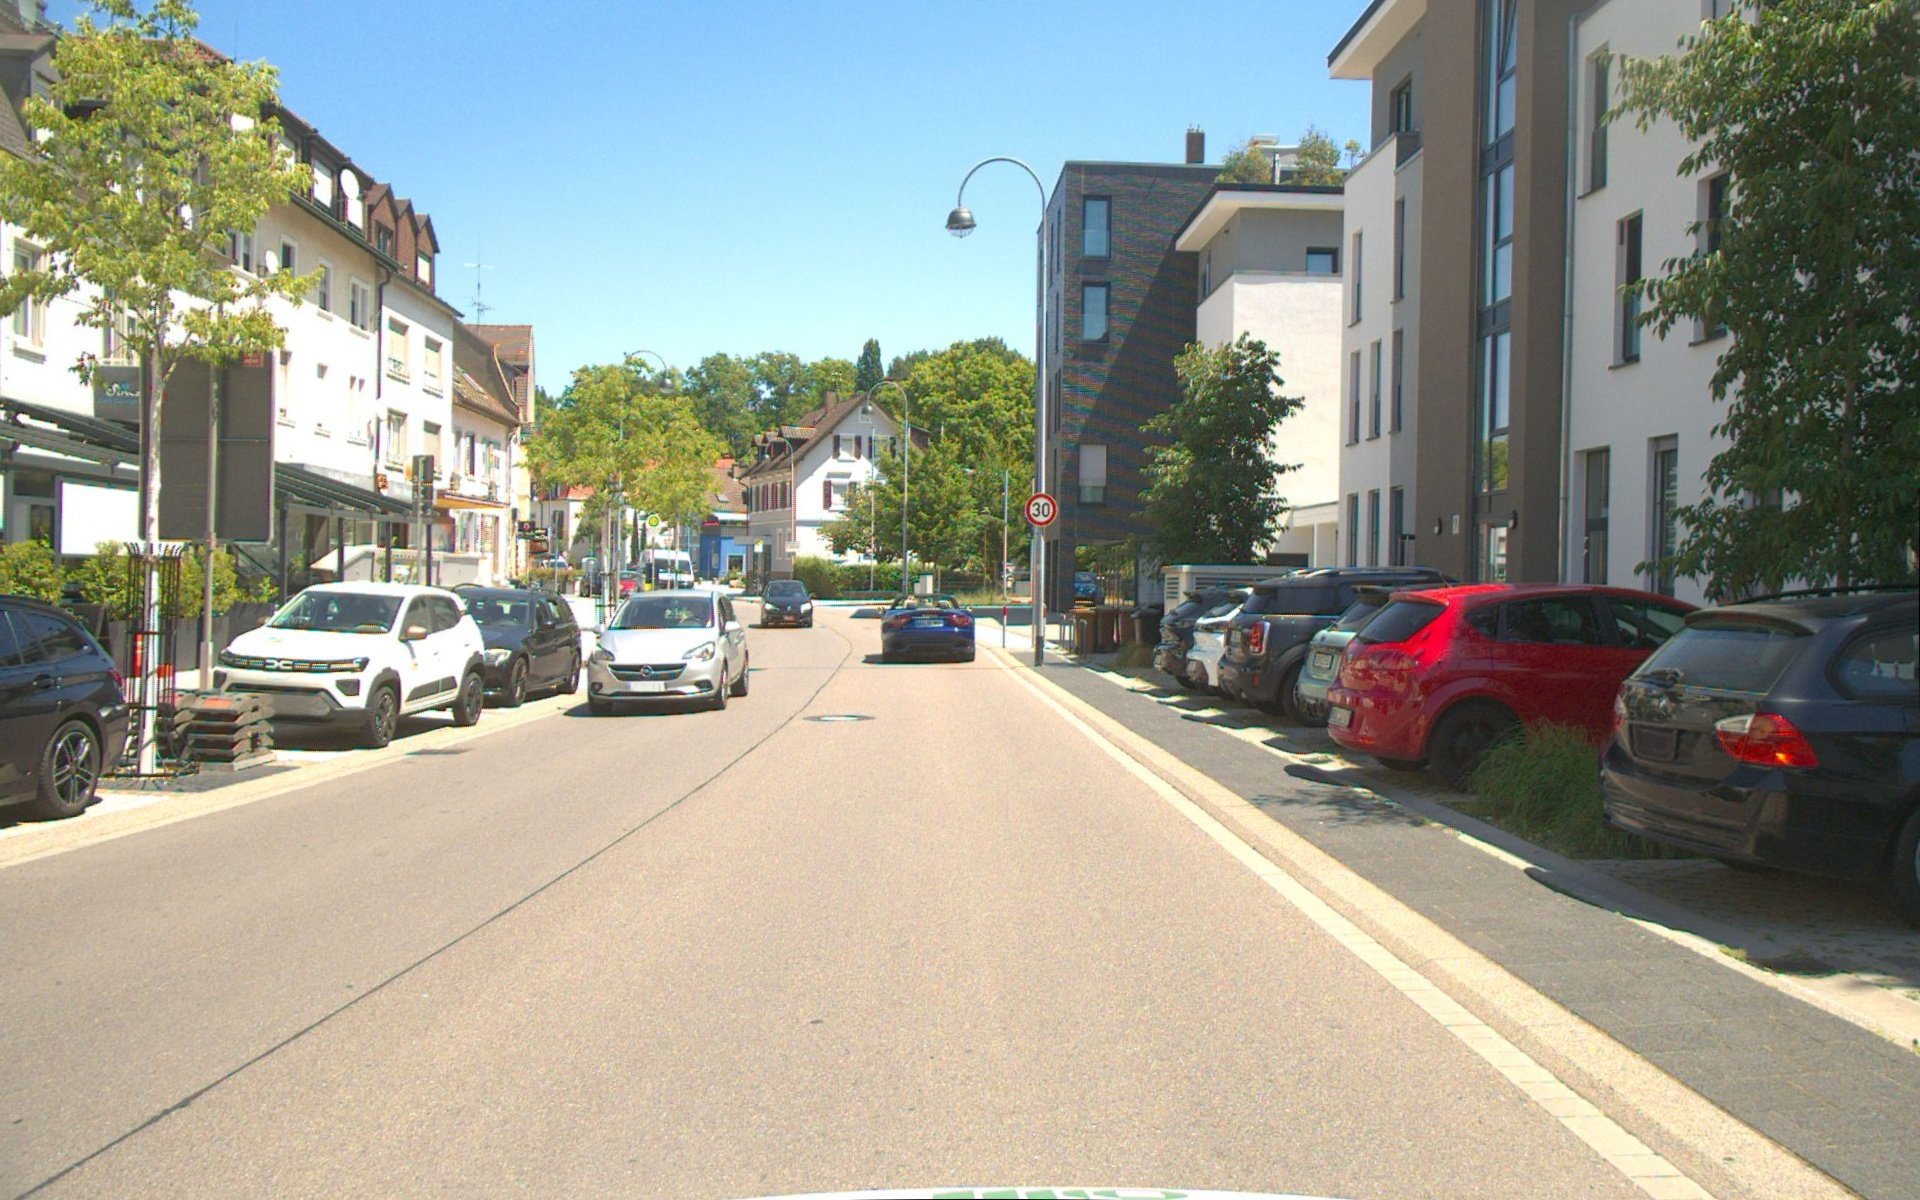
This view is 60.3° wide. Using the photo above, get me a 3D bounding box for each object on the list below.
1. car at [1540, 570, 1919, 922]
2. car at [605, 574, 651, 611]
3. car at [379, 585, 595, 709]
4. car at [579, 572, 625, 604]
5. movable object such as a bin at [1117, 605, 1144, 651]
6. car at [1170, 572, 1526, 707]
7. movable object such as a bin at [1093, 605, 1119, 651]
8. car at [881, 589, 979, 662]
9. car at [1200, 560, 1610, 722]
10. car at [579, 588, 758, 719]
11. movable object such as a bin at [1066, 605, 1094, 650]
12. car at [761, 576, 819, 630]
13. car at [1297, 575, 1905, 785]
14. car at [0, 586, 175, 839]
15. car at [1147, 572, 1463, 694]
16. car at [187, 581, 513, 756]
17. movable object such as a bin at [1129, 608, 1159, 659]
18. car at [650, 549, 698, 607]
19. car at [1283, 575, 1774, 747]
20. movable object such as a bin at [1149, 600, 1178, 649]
[{"bbox_3d":[5.206,0.615,7.924,4.174,1.441,1.926,1,0,-5],"label":"car"},{"bbox_3d":[-16.326,-0.367,81.198,1.960,1.769,3.984,0,0,-15],"label":"car"},{"bbox_3d":[-6.165,0.549,21.993,1.635,1.469,4.010,1,1,1],"label":"car"},{"bbox_3d":[-20.128,-0.698,92.951,1.965,1.722,3.975,1,1,-21],"label":"car"},{"bbox_3d":[3.620,0.590,35.233,0.485,0.945,0.623,-1,0,-1],"label":"movable object such as a bin"},{"bbox_3d":[4.700,0.464,20.440,3.900,1.556,1.942,1,0,-3],"label":"car"},{"bbox_3d":[3.108,0.597,35.215,0.485,0.945,0.623,-1,0,-1],"label":"movable object such as a bin"},{"bbox_3d":[-0.558,0.484,34.167,1.832,1.365,4.597,-1,0,1],"label":"car"},{"bbox_3d":[4.724,0.422,17.956,3.900,1.633,1.942,1,0,-3],"label":"car"},{"bbox_3d":[-3.689,0.618,21.544,1.653,1.484,4.057,-1,1,-1],"label":"car"},{"bbox_3d":[2.561,0.581,35.224,0.526,0.945,0.623,-1,0,-1],"label":"movable object such as a bin"},{"bbox_3d":[-5.532,0.083,53.475,1.630,1.634,3.992,-1,0,-9],"label":"car"},{"bbox_3d":[4.717,0.552,12.557,3.891,1.433,1.856,-1,0,-3],"label":"car"},{"bbox_3d":[-6.584,0.665,9.445,1.796,1.454,4.783,2,1,1],"label":"car"},{"bbox_3d":[4.608,0.436,22.440,3.900,1.556,1.740,1,0,-3],"label":"car"},{"bbox_3d":[-6.030,0.594,16.867,1.610,1.505,3.943,2,1,4],"label":"car"},{"bbox_3d":[3.540,0.641,31.860,0.485,0.945,0.623,-1,0,-1],"label":"movable object such as a bin"},{"bbox_3d":[-12.591,-0.950,72.707,1.834,2.442,4.803,0,1,-12],"label":"car"},{"bbox_3d":[5.105,0.527,15.197,3.900,1.457,1.762,1,0,-3],"label":"car"},{"bbox_3d":[4.039,0.485,32.904,0.485,0.945,0.623,-1,0,-1],"label":"movable object such as a bin"}]
